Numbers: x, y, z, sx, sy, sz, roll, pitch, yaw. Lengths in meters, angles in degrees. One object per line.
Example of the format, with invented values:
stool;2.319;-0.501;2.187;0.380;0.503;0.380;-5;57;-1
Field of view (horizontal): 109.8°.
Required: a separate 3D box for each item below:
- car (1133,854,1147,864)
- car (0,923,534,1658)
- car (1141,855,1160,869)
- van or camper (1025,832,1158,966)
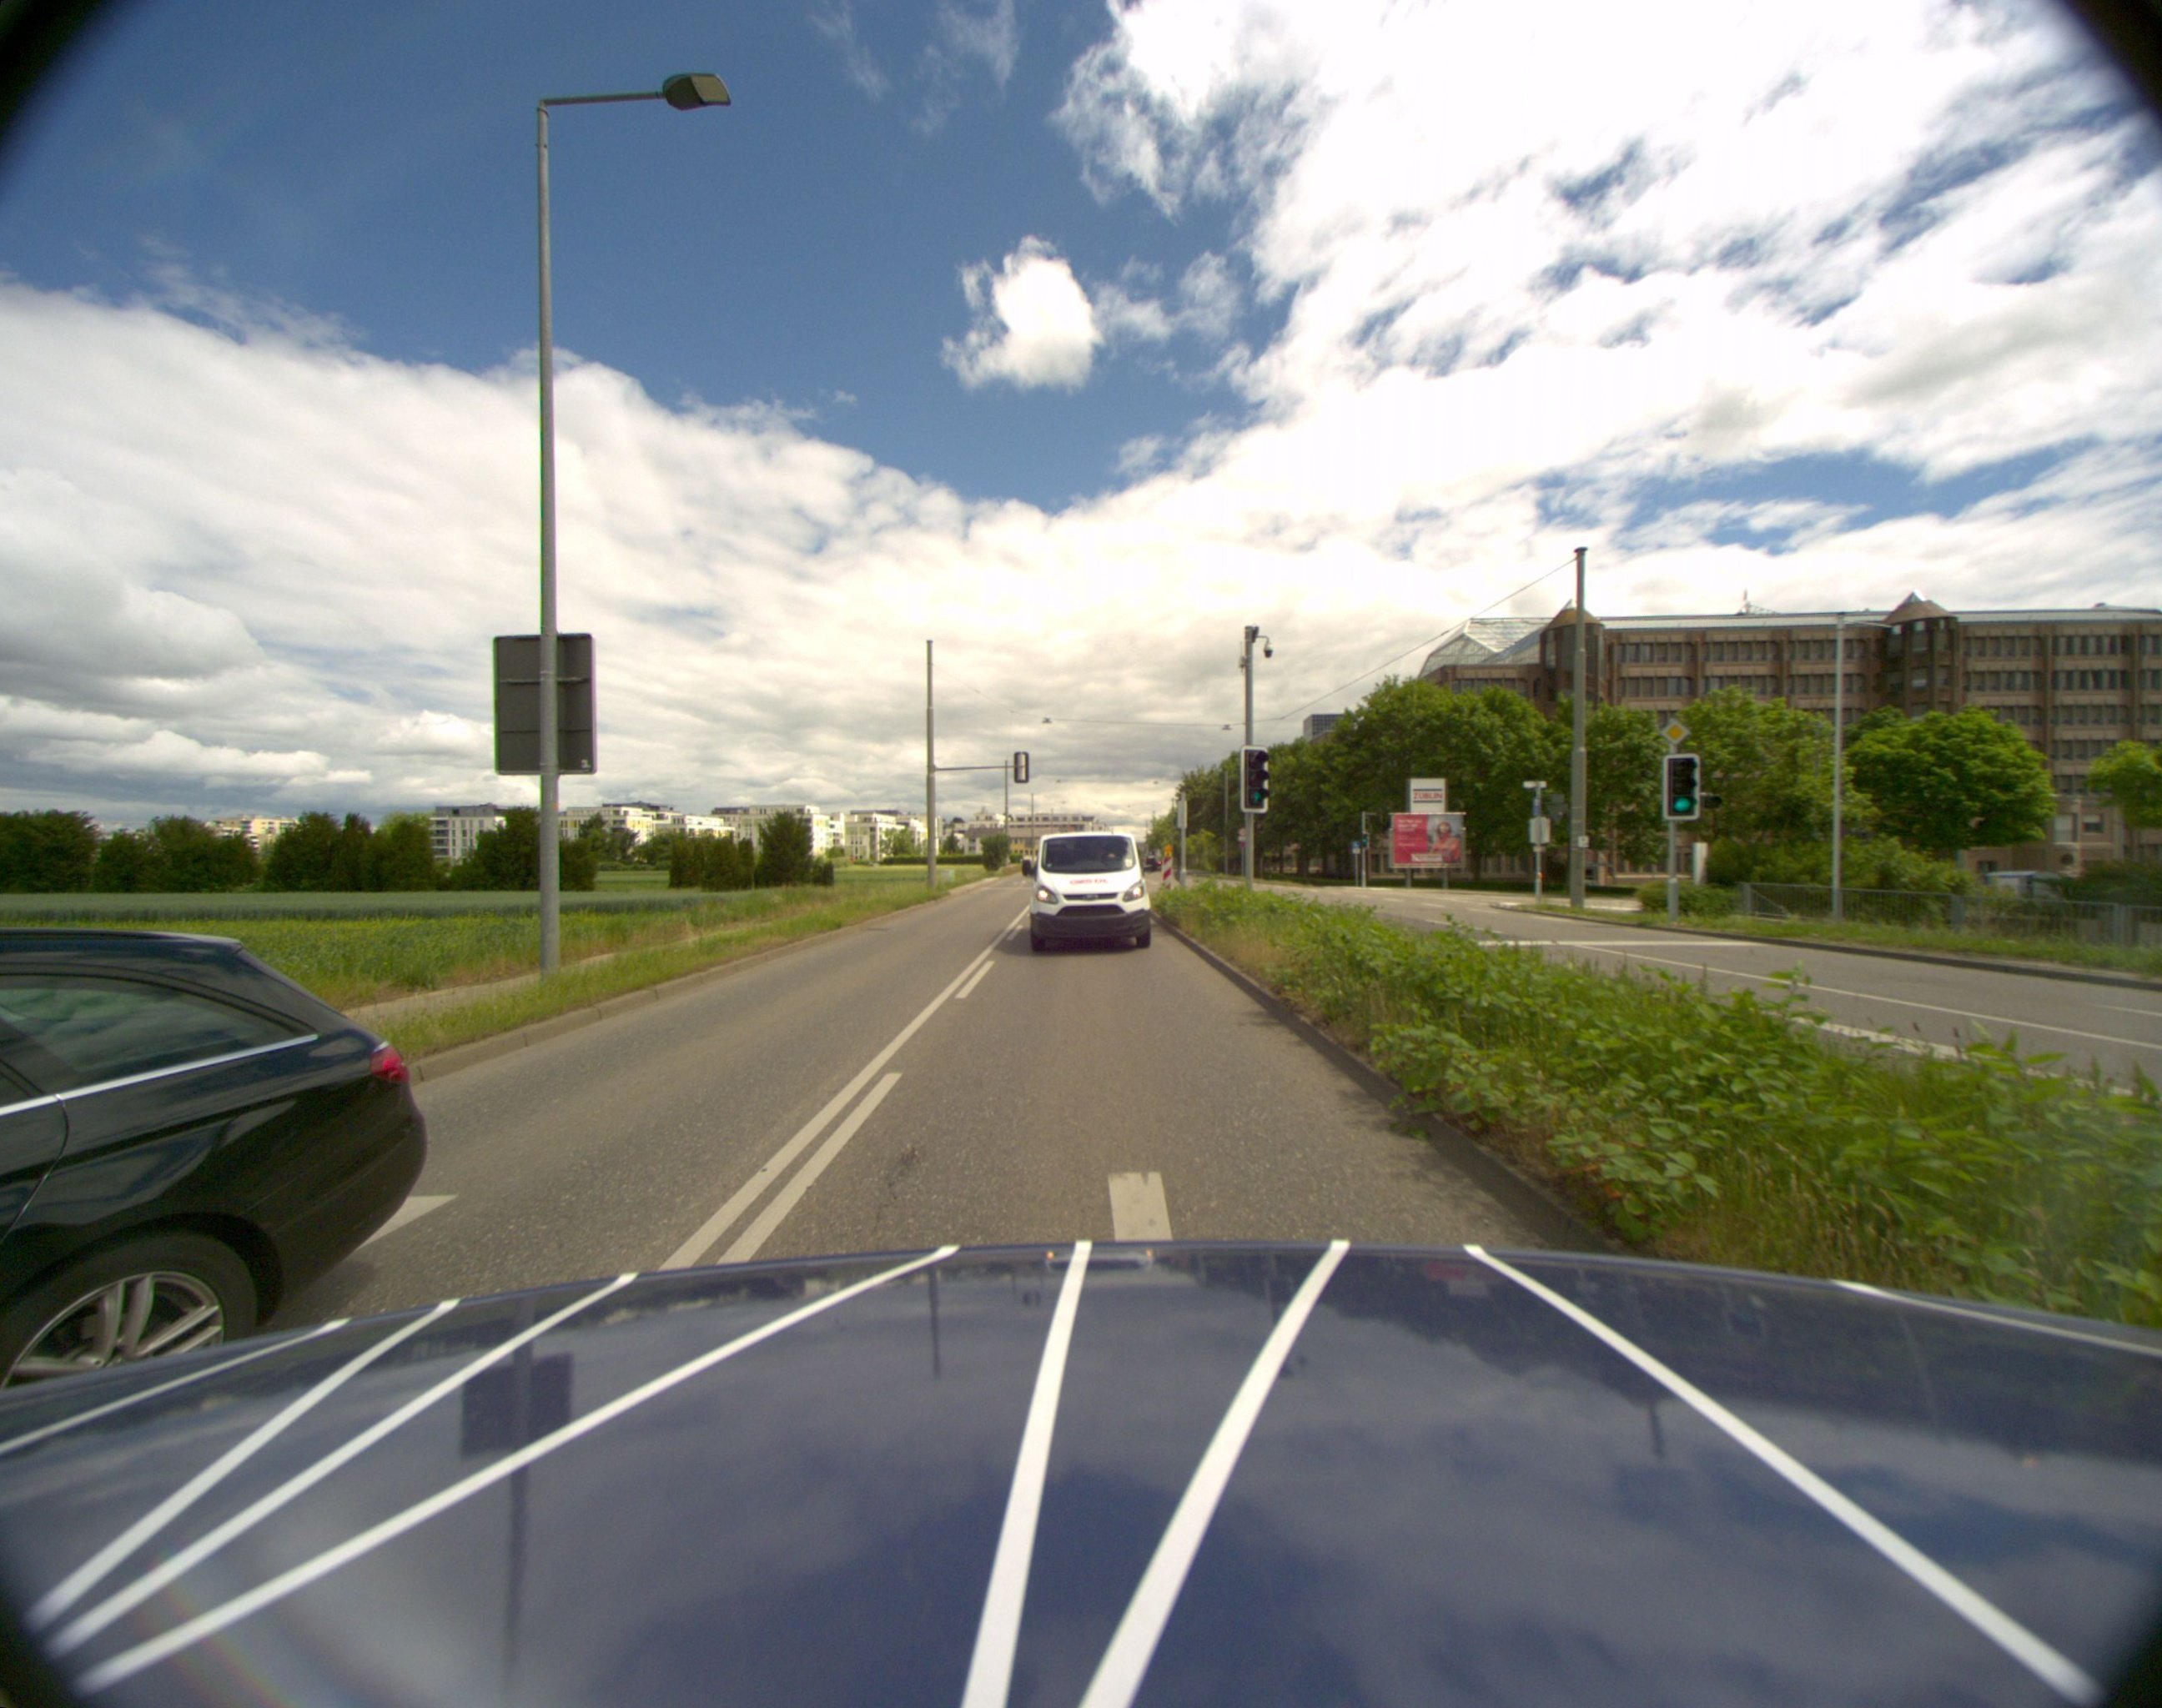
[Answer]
car;9.247;0.788;119.093;1.785;1.407;3.999;1;0;-1
car;-3.250;1.020;0.638;1.877;1.432;5.199;0;0;-1
car;8.497;0.953;93.080;1.998;1.692;4.761;0;0;2
van or camper;0.113;0.673;14.348;1.999;2.002;5.798;0;0;-1
